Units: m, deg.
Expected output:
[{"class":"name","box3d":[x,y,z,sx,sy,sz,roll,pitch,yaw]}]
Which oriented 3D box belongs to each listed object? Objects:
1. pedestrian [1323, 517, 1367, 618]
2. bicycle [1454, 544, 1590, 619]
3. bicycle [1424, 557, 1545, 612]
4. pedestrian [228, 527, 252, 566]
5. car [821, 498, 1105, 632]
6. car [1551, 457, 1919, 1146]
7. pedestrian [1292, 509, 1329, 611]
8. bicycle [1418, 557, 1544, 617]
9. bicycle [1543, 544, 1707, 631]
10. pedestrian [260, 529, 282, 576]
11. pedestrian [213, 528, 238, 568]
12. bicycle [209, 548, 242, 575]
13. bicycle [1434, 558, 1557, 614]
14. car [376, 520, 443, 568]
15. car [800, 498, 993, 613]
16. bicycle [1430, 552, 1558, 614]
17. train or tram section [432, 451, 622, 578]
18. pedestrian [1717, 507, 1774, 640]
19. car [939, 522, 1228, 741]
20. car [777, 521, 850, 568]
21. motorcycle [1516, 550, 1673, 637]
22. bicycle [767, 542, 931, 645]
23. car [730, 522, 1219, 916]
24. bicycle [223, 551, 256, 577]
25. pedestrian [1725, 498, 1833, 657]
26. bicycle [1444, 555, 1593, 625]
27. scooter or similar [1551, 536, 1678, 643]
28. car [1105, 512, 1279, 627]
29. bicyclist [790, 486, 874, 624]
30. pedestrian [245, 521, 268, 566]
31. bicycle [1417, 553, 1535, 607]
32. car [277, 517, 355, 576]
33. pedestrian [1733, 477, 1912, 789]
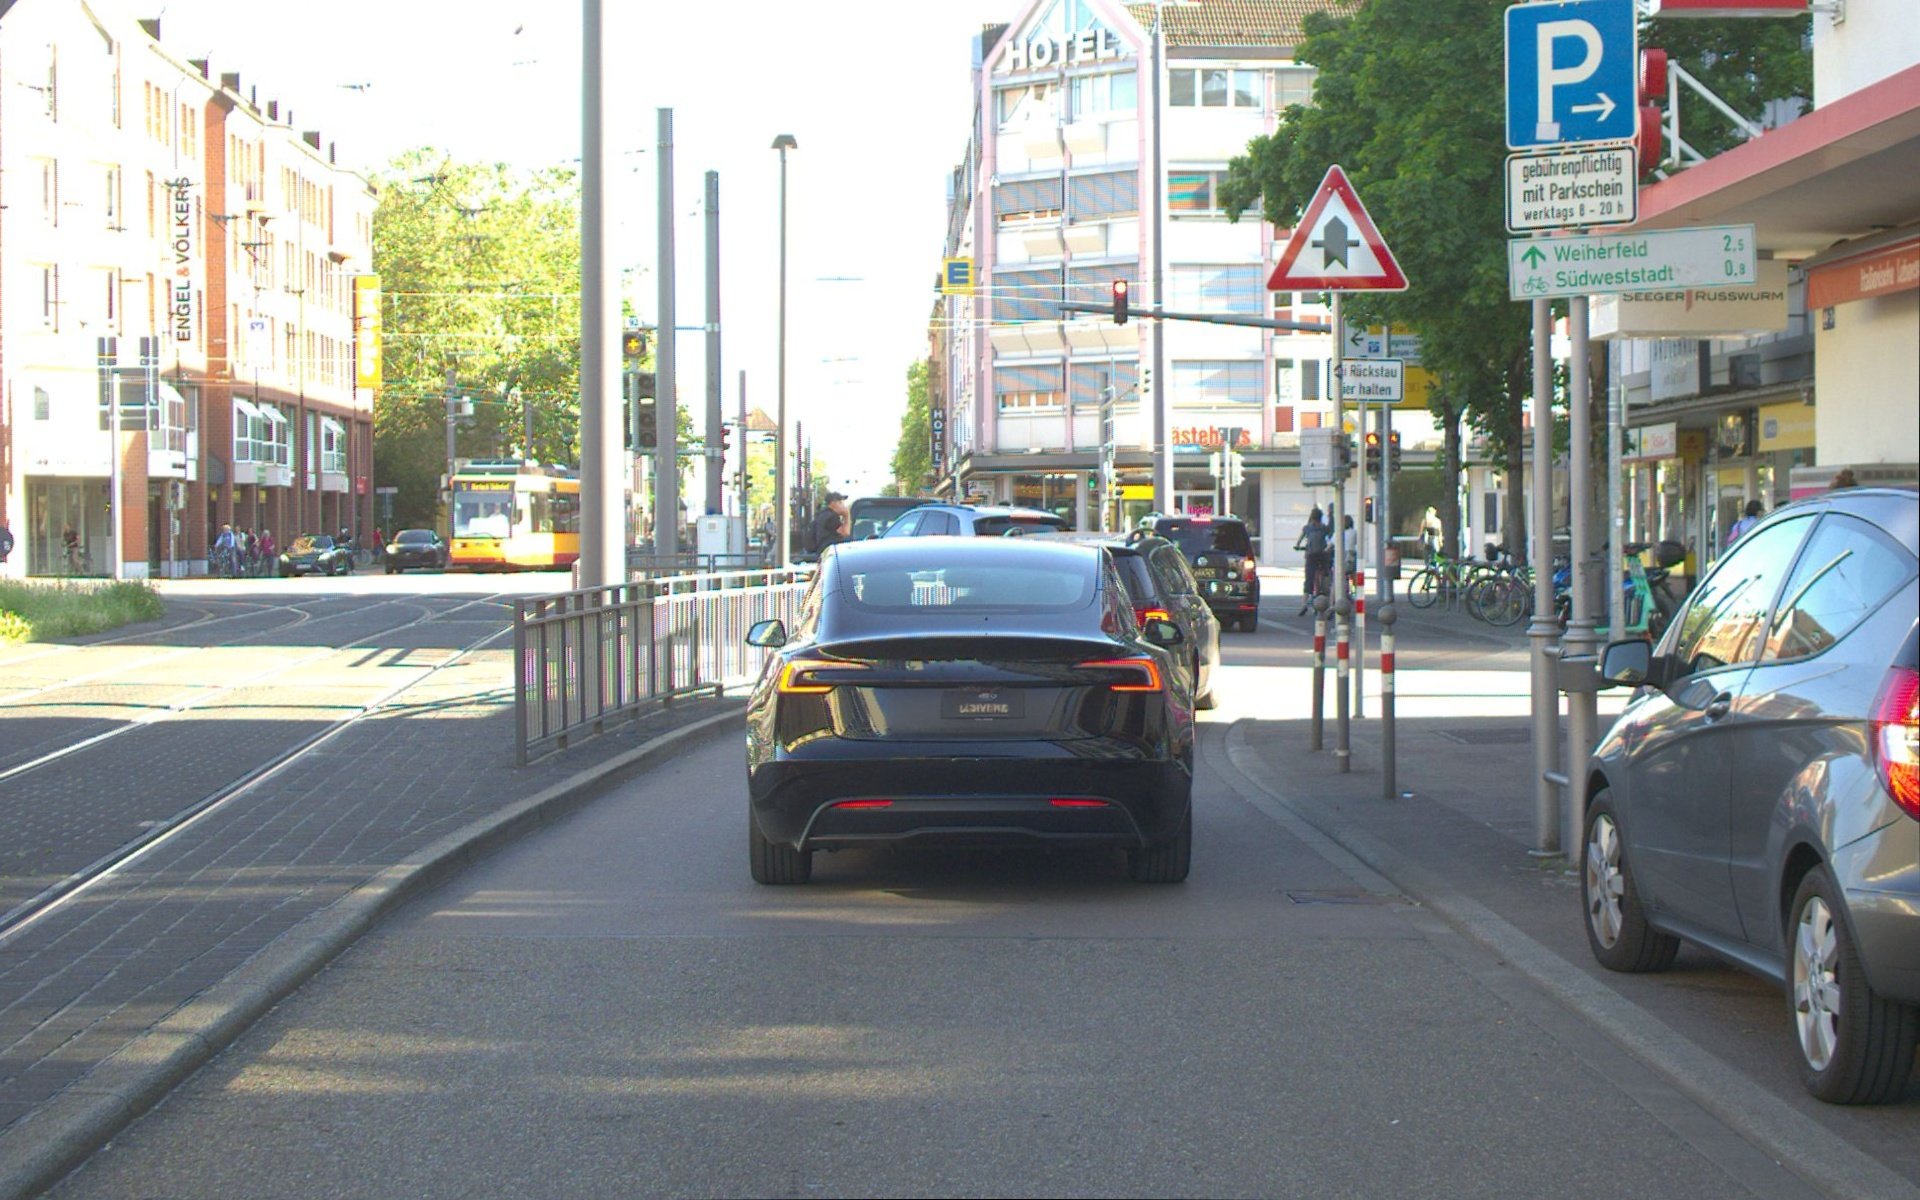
[{"class":"pedestrian","box3d":[6.157,-0.524,55.054,0.629,1.608,0.643,1,1,3]},{"class":"bicycle","box3d":[8.376,-0.278,51.289,1.924,1.093,0.555,1,1,1]},{"class":"bicycle","box3d":[8.719,-0.261,57.160,1.924,0.887,0.526,1,1,1]},{"class":"pedestrian","box3d":[-24.614,-1.832,117.566,0.696,1.303,0.564,0,1,-2]},{"class":"car","box3d":[-0.029,-0.458,42.238,1.783,1.514,4.219,2,1,-26]},{"class":"car","box3d":[2.925,0.412,9.943,1.745,1.626,3.649,-1,2,-1]},{"class":"pedestrian","box3d":[5.837,-0.669,57.269,0.562,1.677,0.750,1,1,4]},{"class":"bicycle","box3d":[8.358,-0.210,55.194,1.924,0.947,0.526,1,1,1]},{"class":"bicycle","box3d":[8.710,-0.165,45.060,2.051,1.118,0.483,1,1,1]},{"class":"pedestrian","box3d":[-24.383,-1.681,121.702,0.711,1.661,0.564,2,1,-9]},{"class":"pedestrian","box3d":[-24.561,-1.744,114.985,0.711,1.337,0.666,0,1,-1]},{"class":"bicycle","box3d":[-24.562,-1.285,114.985,0.702,0.852,2.053,0,1,-1]},{"class":"bicycle","box3d":[8.761,-0.231,56.239,1.924,0.885,0.526,1,1,1]},{"class":"car","box3d":[-19.644,-2.004,122.751,1.751,1.645,4.000,2,1,-1]},{"class":"car","box3d":[-0.951,-0.653,48.842,1.824,1.514,4.219,2,1,-14]},{"class":"bicycle","box3d":[8.407,-0.268,54.178,1.924,0.947,0.526,1,1,1]},{"class":"train or tram section","box3d":[-13.651,-2.654,110.006,2.675,3.703,14.189,2,1,6]},{"class":"pedestrian","box3d":[9.781,-0.331,42.825,0.595,1.636,0.466,-1,1,1]},{"class":"car","box3d":[0.986,0.167,25.278,1.654,1.413,3.999,2,2,8]},{"class":"car","box3d":[-4.710,-1.777,110.848,1.994,1.415,4.000,2,1,2]},{"class":"motorcycle","box3d":[8.665,-0.091,46.995,1.991,1.124,0.596,2,1,-1]},{"class":"bicycle","box3d":[-1.241,-0.075,38.339,1.727,1.084,0.678,2,1,-8]},{"class":"car","box3d":[-0.013,0.431,15.131,1.849,1.479,3.788,1,1,-2]},{"class":"bicycle","box3d":[-24.616,-1.242,117.494,0.702,0.852,2.053,0,1,-1]},{"class":"pedestrian","box3d":[9.125,-0.249,38.319,1.004,1.736,0.529,2,1,-25]},{"class":"bicycle","box3d":[7.994,-0.149,49.226,2.051,0.979,0.483,1,1,1]},{"class":"scooter or similar","box3d":[8.126,-0.129,42.681,1.408,1.312,0.696,0,-1,-26]},{"class":"car","box3d":[3.264,-0.454,49.083,1.824,1.514,3.650,2,1,-6]},{"class":"bicyclist","box3d":[-1.426,-0.501,38.229,0.836,1.494,0.560,2,1,-8]},{"class":"pedestrian","box3d":[-24.468,-1.974,119.527,0.711,1.549,0.564,2,1,-9]},{"class":"bicycle","box3d":[8.737,-0.346,58.251,1.924,0.887,0.526,1,1,1]},{"class":"car","box3d":[-22.418,-1.878,119.819,1.993,2.007,4.000,0,1,-1]},{"class":"pedestrian","box3d":[4.815,0.172,19.184,0.818,1.677,0.714,2,1,22]}]
